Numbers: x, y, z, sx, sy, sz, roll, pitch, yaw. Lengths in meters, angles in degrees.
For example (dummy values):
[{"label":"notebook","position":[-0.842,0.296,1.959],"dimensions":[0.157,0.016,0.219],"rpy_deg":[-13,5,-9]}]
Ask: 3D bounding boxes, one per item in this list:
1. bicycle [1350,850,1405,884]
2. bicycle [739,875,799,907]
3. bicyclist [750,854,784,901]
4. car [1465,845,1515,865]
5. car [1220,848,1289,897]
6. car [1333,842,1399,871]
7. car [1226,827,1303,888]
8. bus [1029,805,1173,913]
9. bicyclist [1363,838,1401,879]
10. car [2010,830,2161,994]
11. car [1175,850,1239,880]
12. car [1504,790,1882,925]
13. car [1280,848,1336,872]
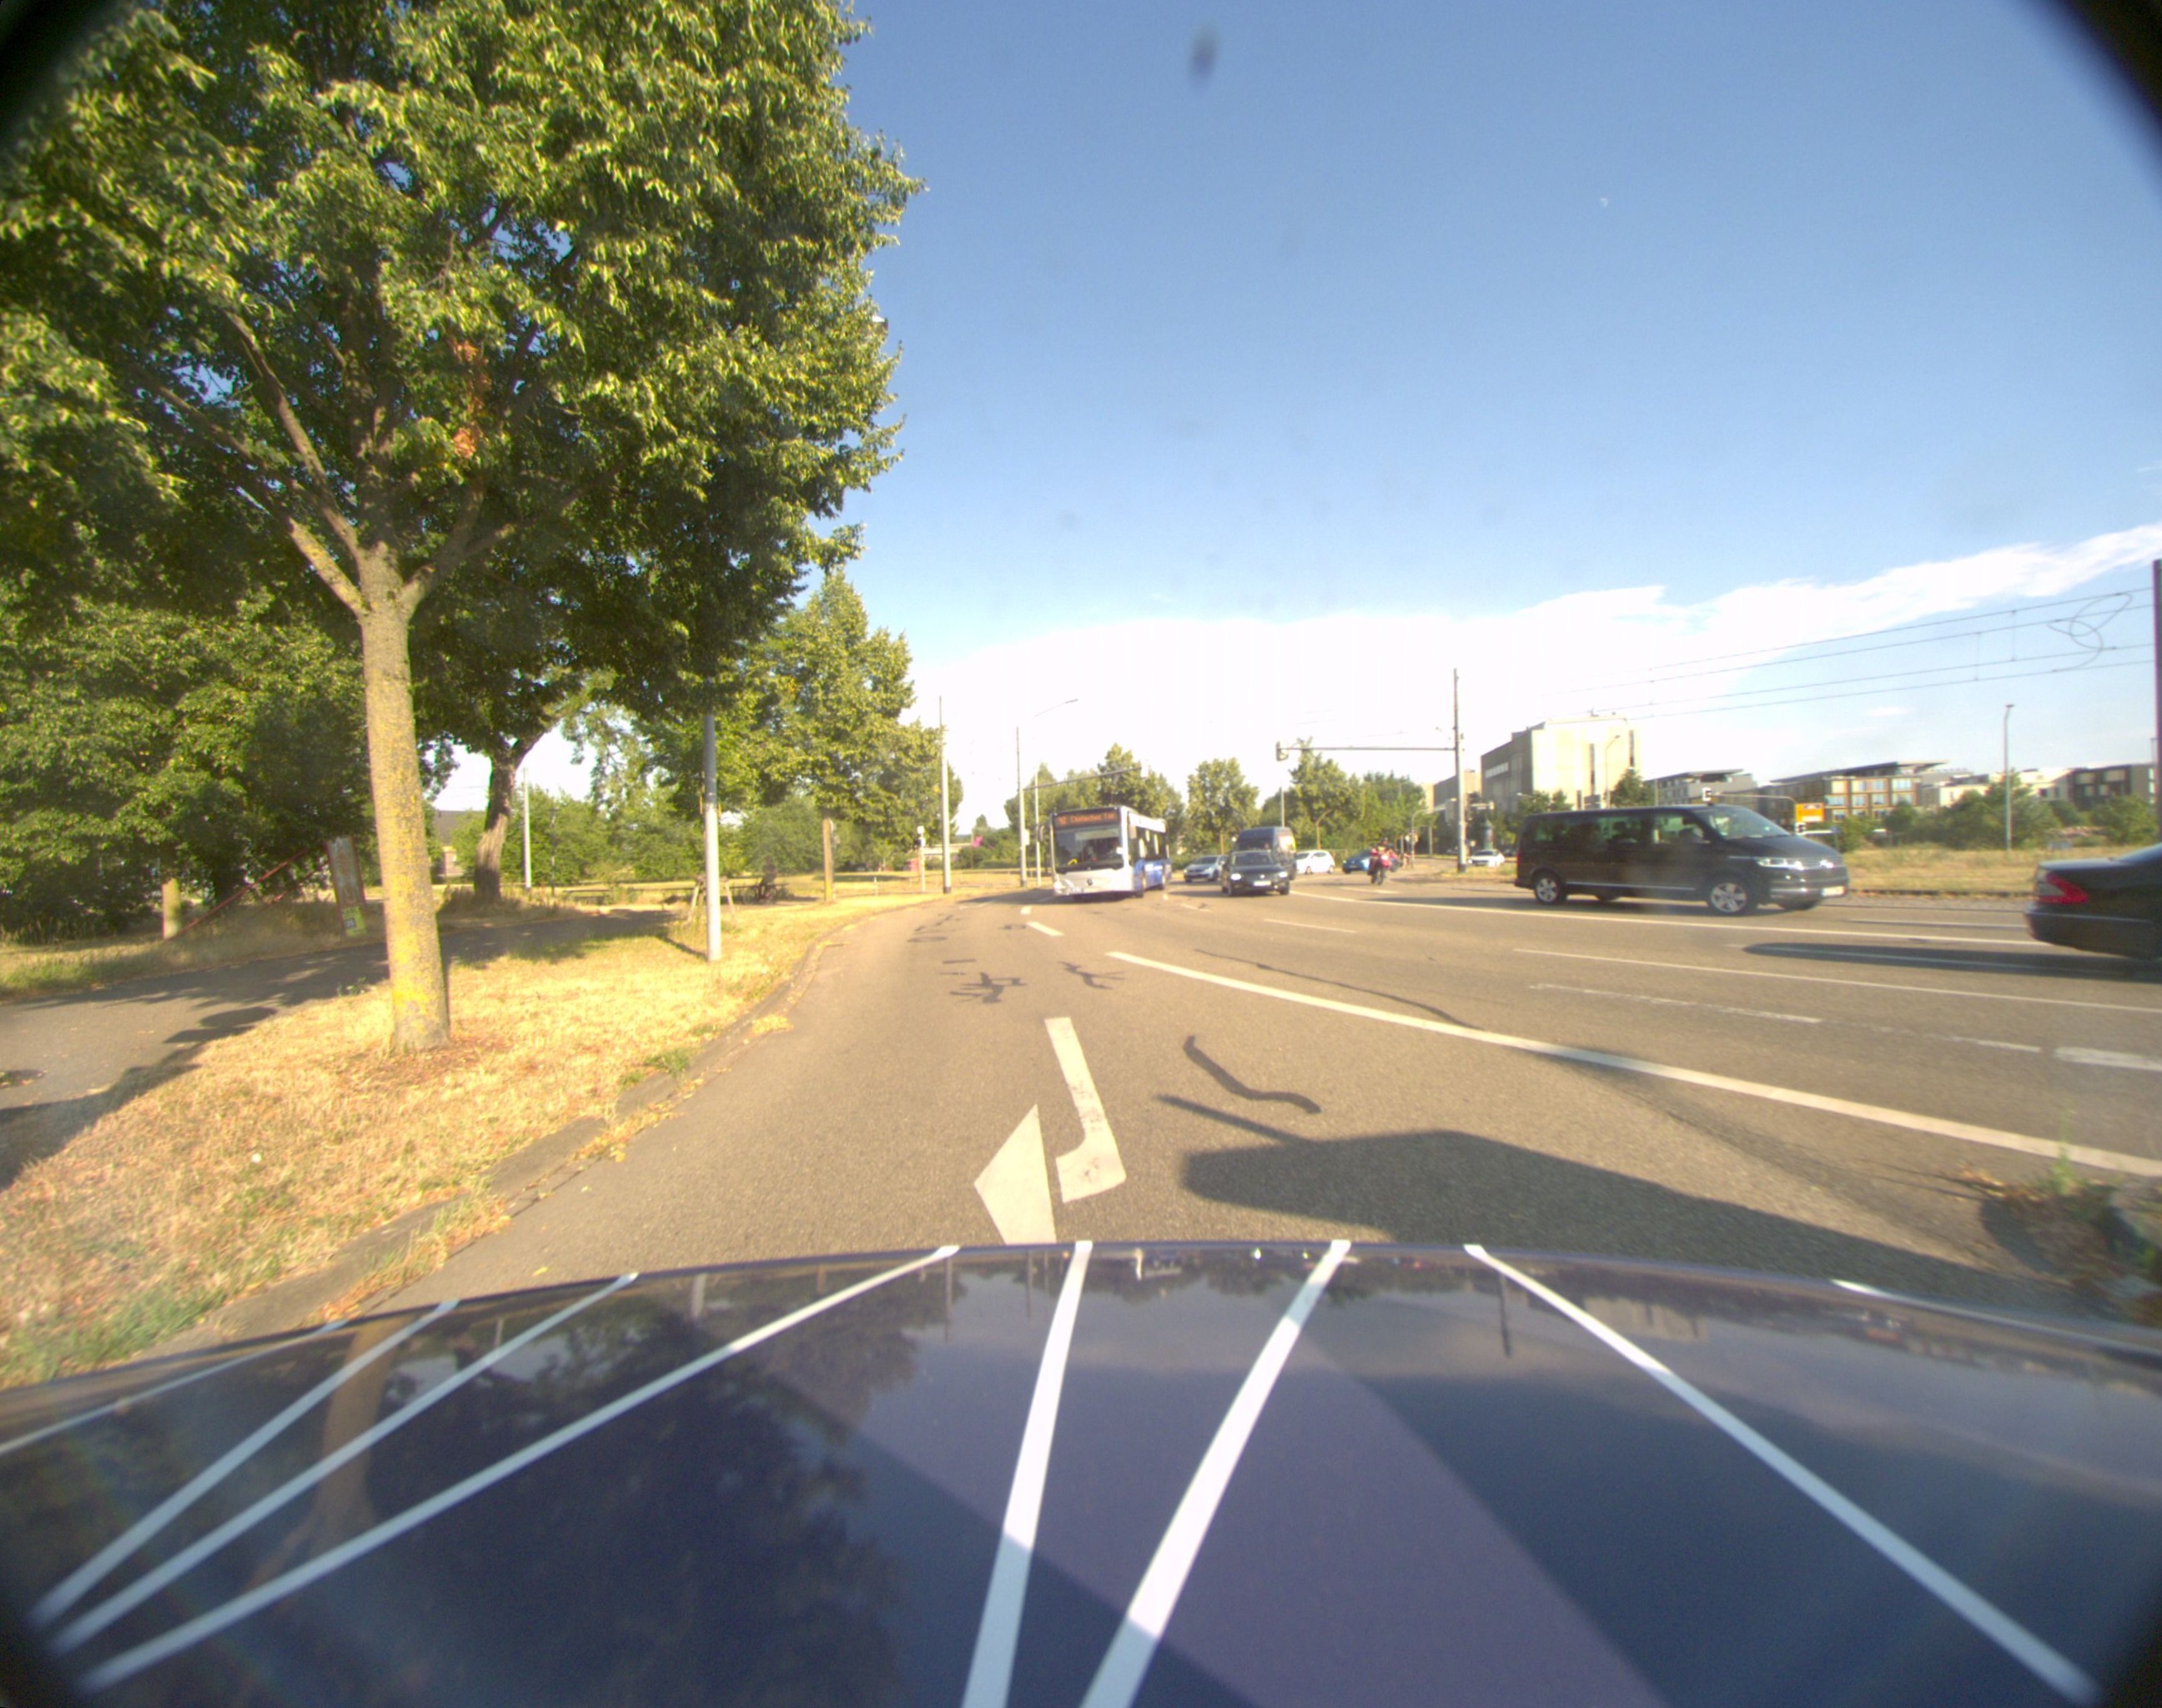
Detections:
[{"label":"bicycle","position":[10.783,0.471,27.706],"dimensions":[0.821,1.177,2.029],"rpy_deg":[-2,0,-15]},{"label":"bicycle","position":[-12.251,1.422,29.913],"dimensions":[0.639,1.116,2.129],"rpy_deg":[-2,1,35]},{"label":"bicyclist","position":[-12.333,0.933,29.848],"dimensions":[0.726,1.790,0.940],"rpy_deg":[-2,1,35]},{"label":"car","position":[32.084,0.040,59.512],"dimensions":[4.598,1.376,2.089],"rpy_deg":[-2,0,-44]},{"label":"car","position":[5.587,0.548,24.936],"dimensions":[1.808,1.428,4.390],"rpy_deg":[-2,0,8]},{"label":"car","position":[17.798,0.138,47.394],"dimensions":[4.007,1.652,1.866],"rpy_deg":[-2,1,-35]},{"label":"car","position":[8.738,0.176,35.806],"dimensions":[1.995,2.578,5.496],"rpy_deg":[-3,-1,29]},{"label":"bus","position":[1.269,0.096,28.131],"dimensions":[2.662,3.044,12.190],"rpy_deg":[-2,0,14]},{"label":"bicyclist","position":[10.886,0.151,27.488],"dimensions":[0.884,1.377,0.771],"rpy_deg":[-5,1,-14]},{"label":"car","position":[10.874,0.478,5.780],"dimensions":[1.846,1.398,4.688],"rpy_deg":[-2,1,-35]},{"label":"car","position":[6.970,0.594,41.786],"dimensions":[1.994,1.515,4.008],"rpy_deg":[-1,0,33]},{"label":"car","position":[11.019,0.048,14.349],"dimensions":[2.096,2.035,5.236],"rpy_deg":[-2,0,-18]},{"label":"car","position":[15.398,0.393,51.484],"dimensions":[4.007,1.508,1.677],"rpy_deg":[-2,1,-40]}]
